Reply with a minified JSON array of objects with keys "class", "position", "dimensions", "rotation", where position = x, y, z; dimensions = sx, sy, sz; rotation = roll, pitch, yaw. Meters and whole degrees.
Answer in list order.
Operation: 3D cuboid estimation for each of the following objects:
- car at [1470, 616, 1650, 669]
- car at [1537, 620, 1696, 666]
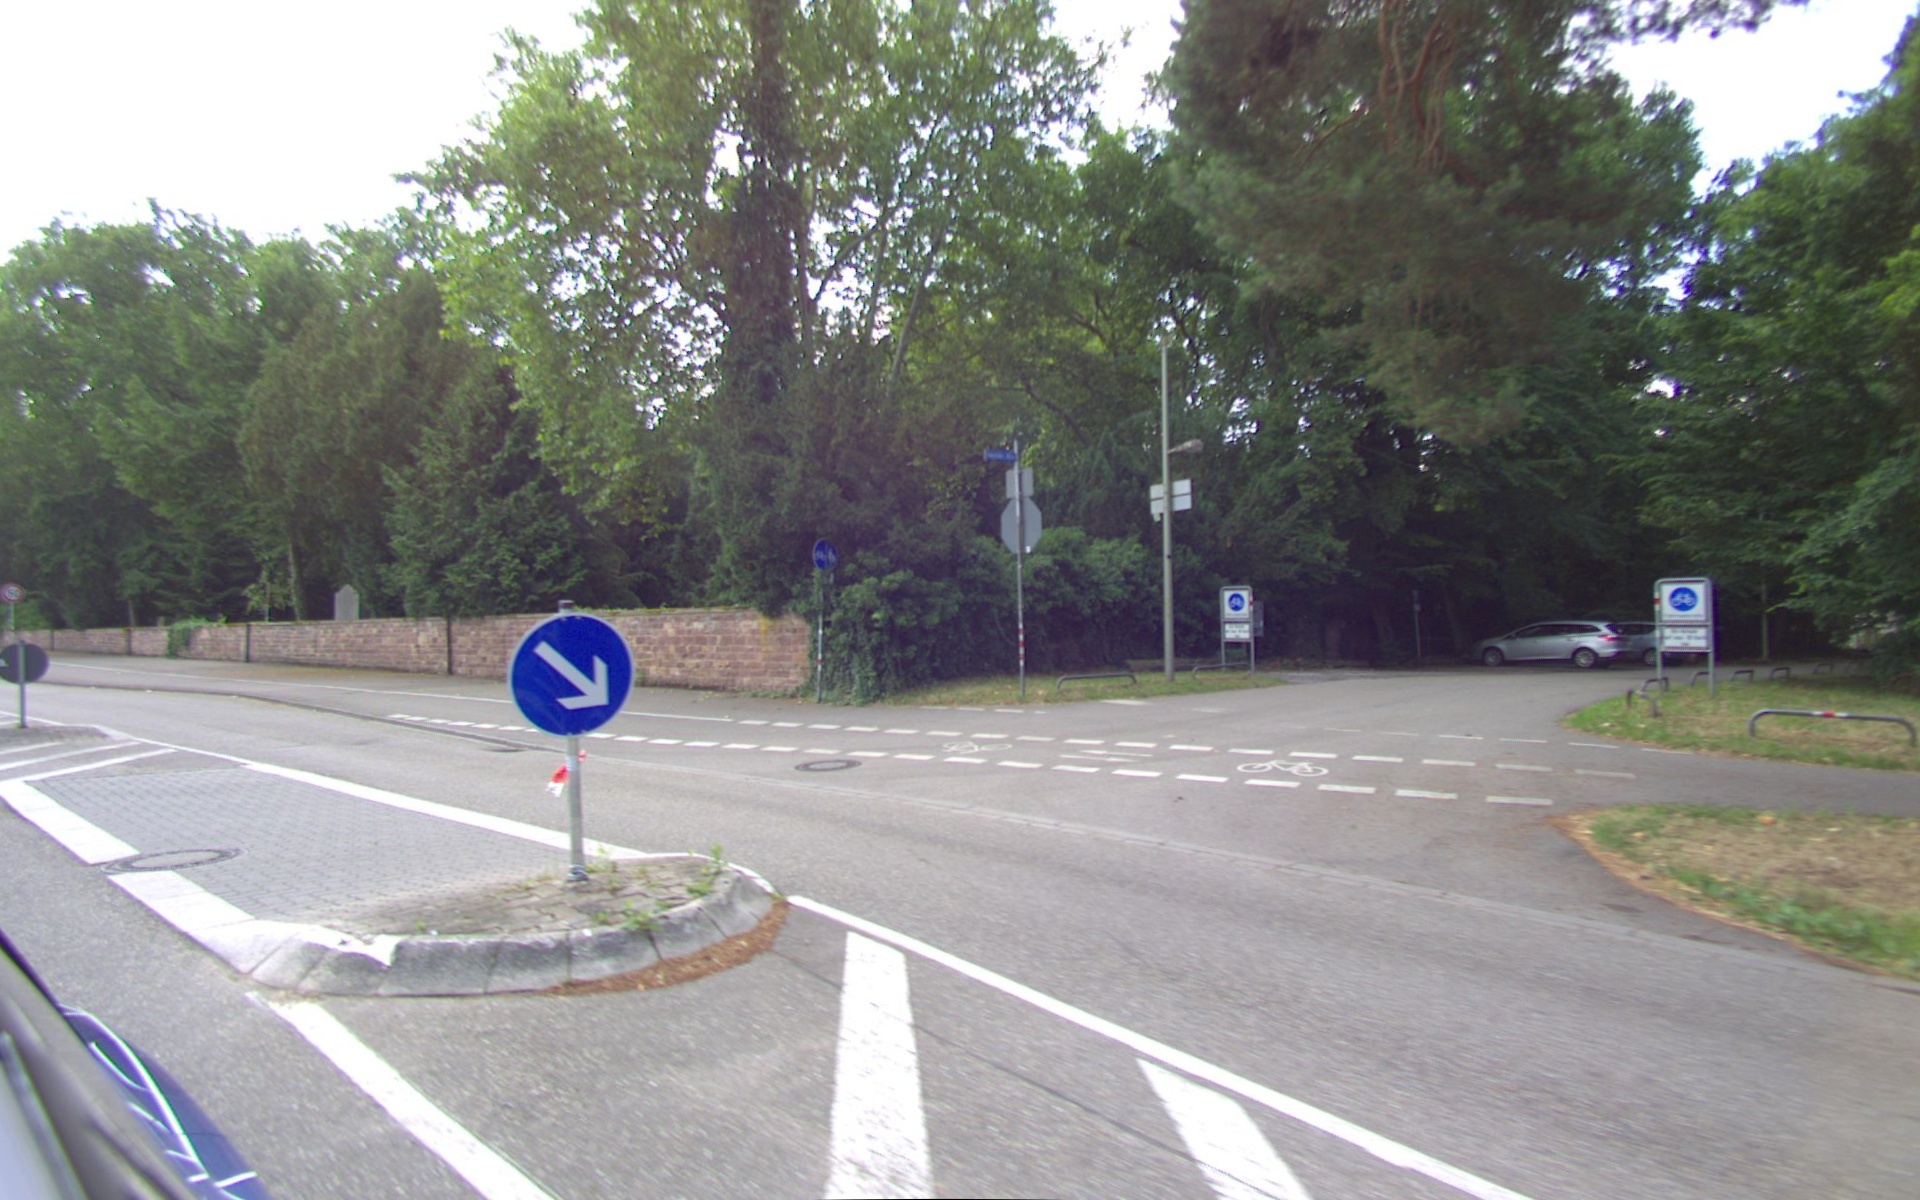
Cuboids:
[{"class":"car","position":[18.851,1.332,31.968],"dimensions":[1.901,1.553,4.524],"rotation":[2,-3,-42]},{"class":"car","position":[23.715,1.539,36.676],"dimensions":[1.902,1.553,4.523],"rotation":[2,-3,-43]}]
